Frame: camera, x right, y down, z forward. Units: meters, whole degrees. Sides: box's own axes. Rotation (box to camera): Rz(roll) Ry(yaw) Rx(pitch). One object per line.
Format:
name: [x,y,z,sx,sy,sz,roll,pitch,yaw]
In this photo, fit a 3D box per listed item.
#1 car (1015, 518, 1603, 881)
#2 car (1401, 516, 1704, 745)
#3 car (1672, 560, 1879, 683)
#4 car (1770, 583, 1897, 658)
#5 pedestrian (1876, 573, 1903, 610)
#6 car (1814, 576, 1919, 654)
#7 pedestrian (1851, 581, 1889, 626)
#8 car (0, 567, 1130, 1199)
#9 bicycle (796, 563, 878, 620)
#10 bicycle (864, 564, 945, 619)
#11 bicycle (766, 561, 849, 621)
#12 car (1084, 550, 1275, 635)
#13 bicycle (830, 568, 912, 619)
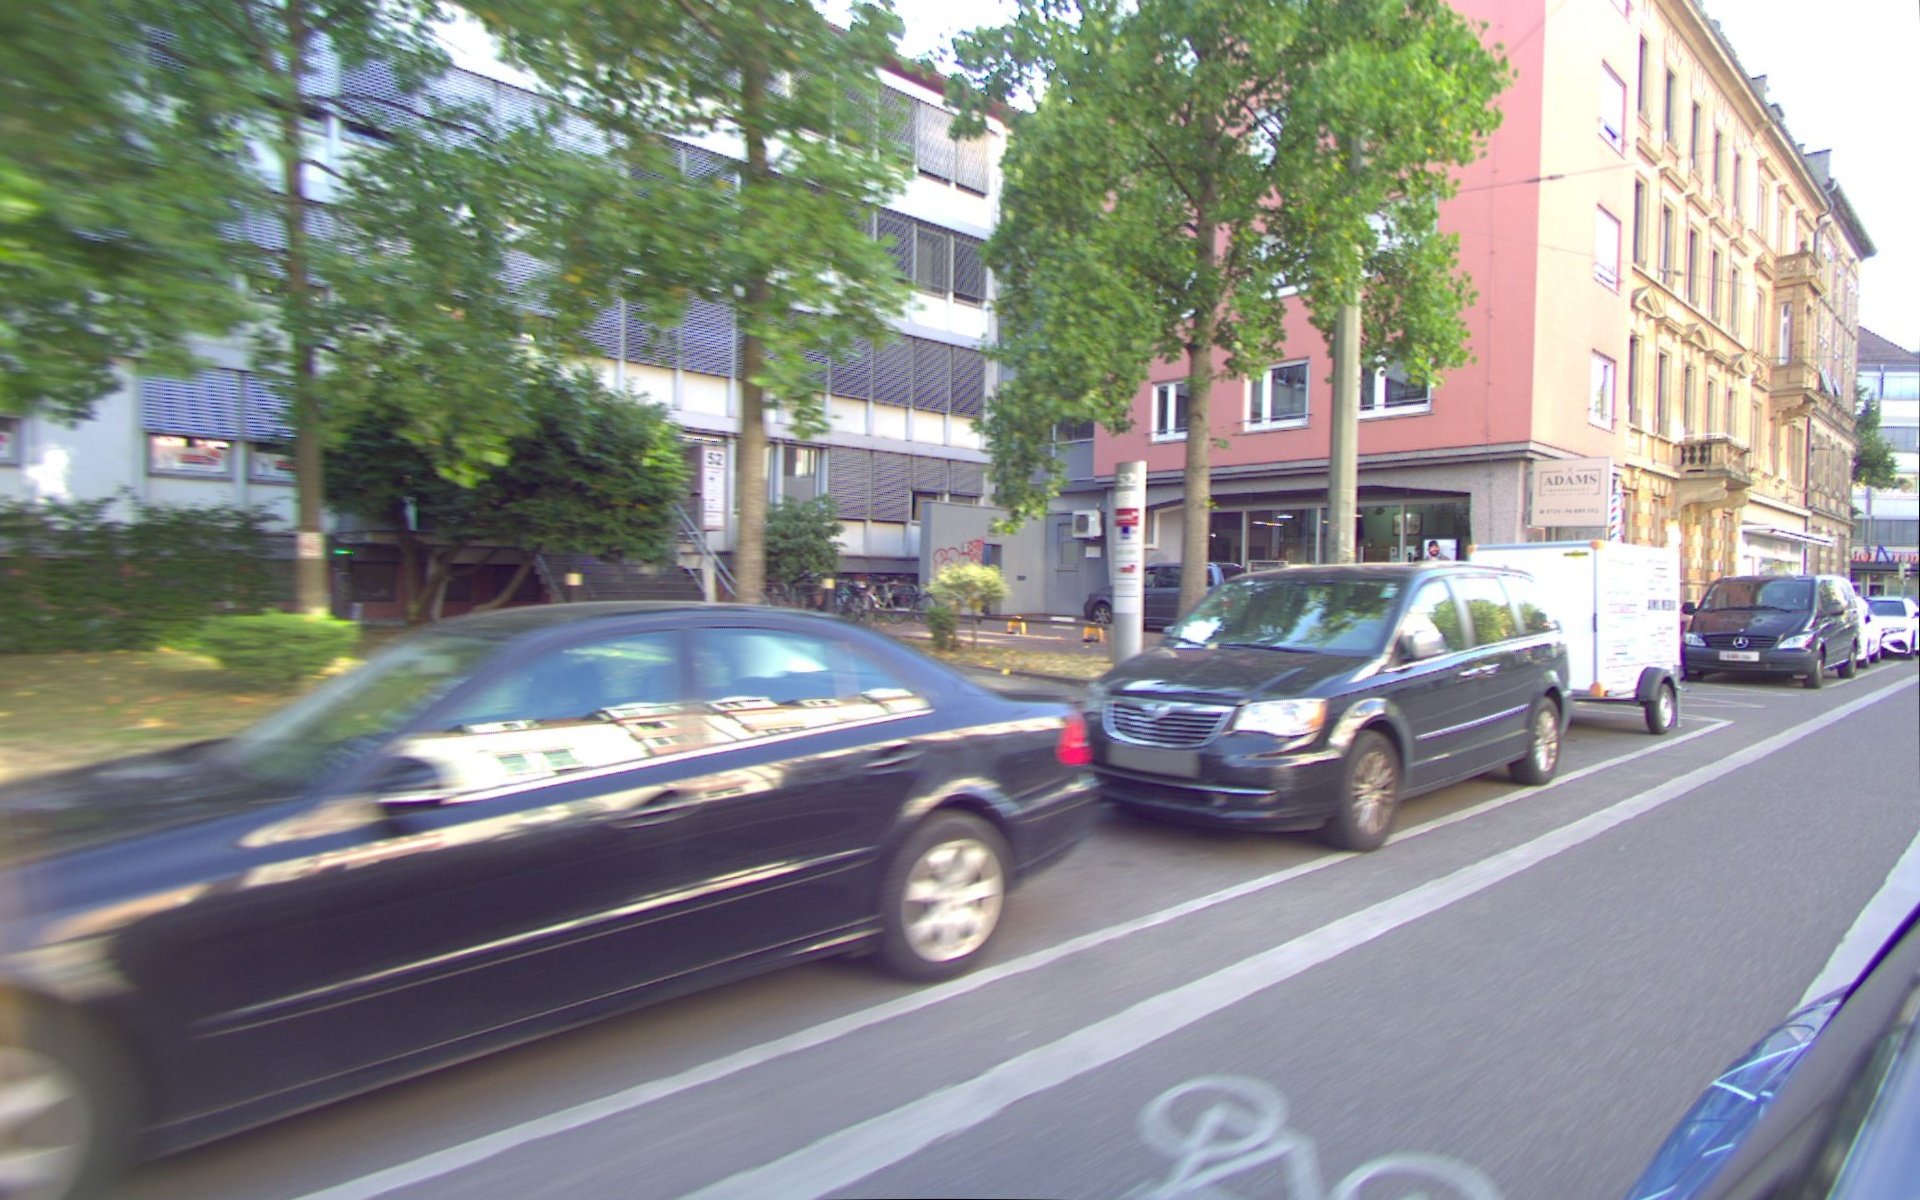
car: [2.880,0.491,7.506,5.093,1.811,1.952,0,0,-42]
car: [6.693,0.259,11.317,3.639,2.146,1.710,0,1,-38]
car: [14.514,0.335,17.911,4.900,1.892,1.959,0,0,-40]
car: [19.269,0.413,22.276,3.895,1.515,1.732,0,0,-43]
pedestrian: [44.120,-0.423,48.050,1.015,1.687,0.785,3,-1,-40]
car: [23.350,0.328,25.553,4.789,1.794,1.970,0,0,-40]
pedestrian: [33.601,0.112,37.361,0.897,1.585,0.778,1,4,-38]
car: [-1.527,0.665,3.643,4.594,1.445,1.719,2,0,-42]
bicycle: [-2.916,-0.217,23.785,0.846,1.166,2.327,1,3,-36]
bicycle: [-1.402,-0.232,25.119,0.846,1.185,2.327,1,3,-36]
bicycle: [-3.507,-0.218,23.043,0.846,1.204,2.327,1,3,-36]
car: [5.101,-0.229,23.840,4.032,1.668,1.749,6,4,44]
bicycle: [-2.181,-0.172,24.485,0.846,1.056,2.383,1,3,-36]
